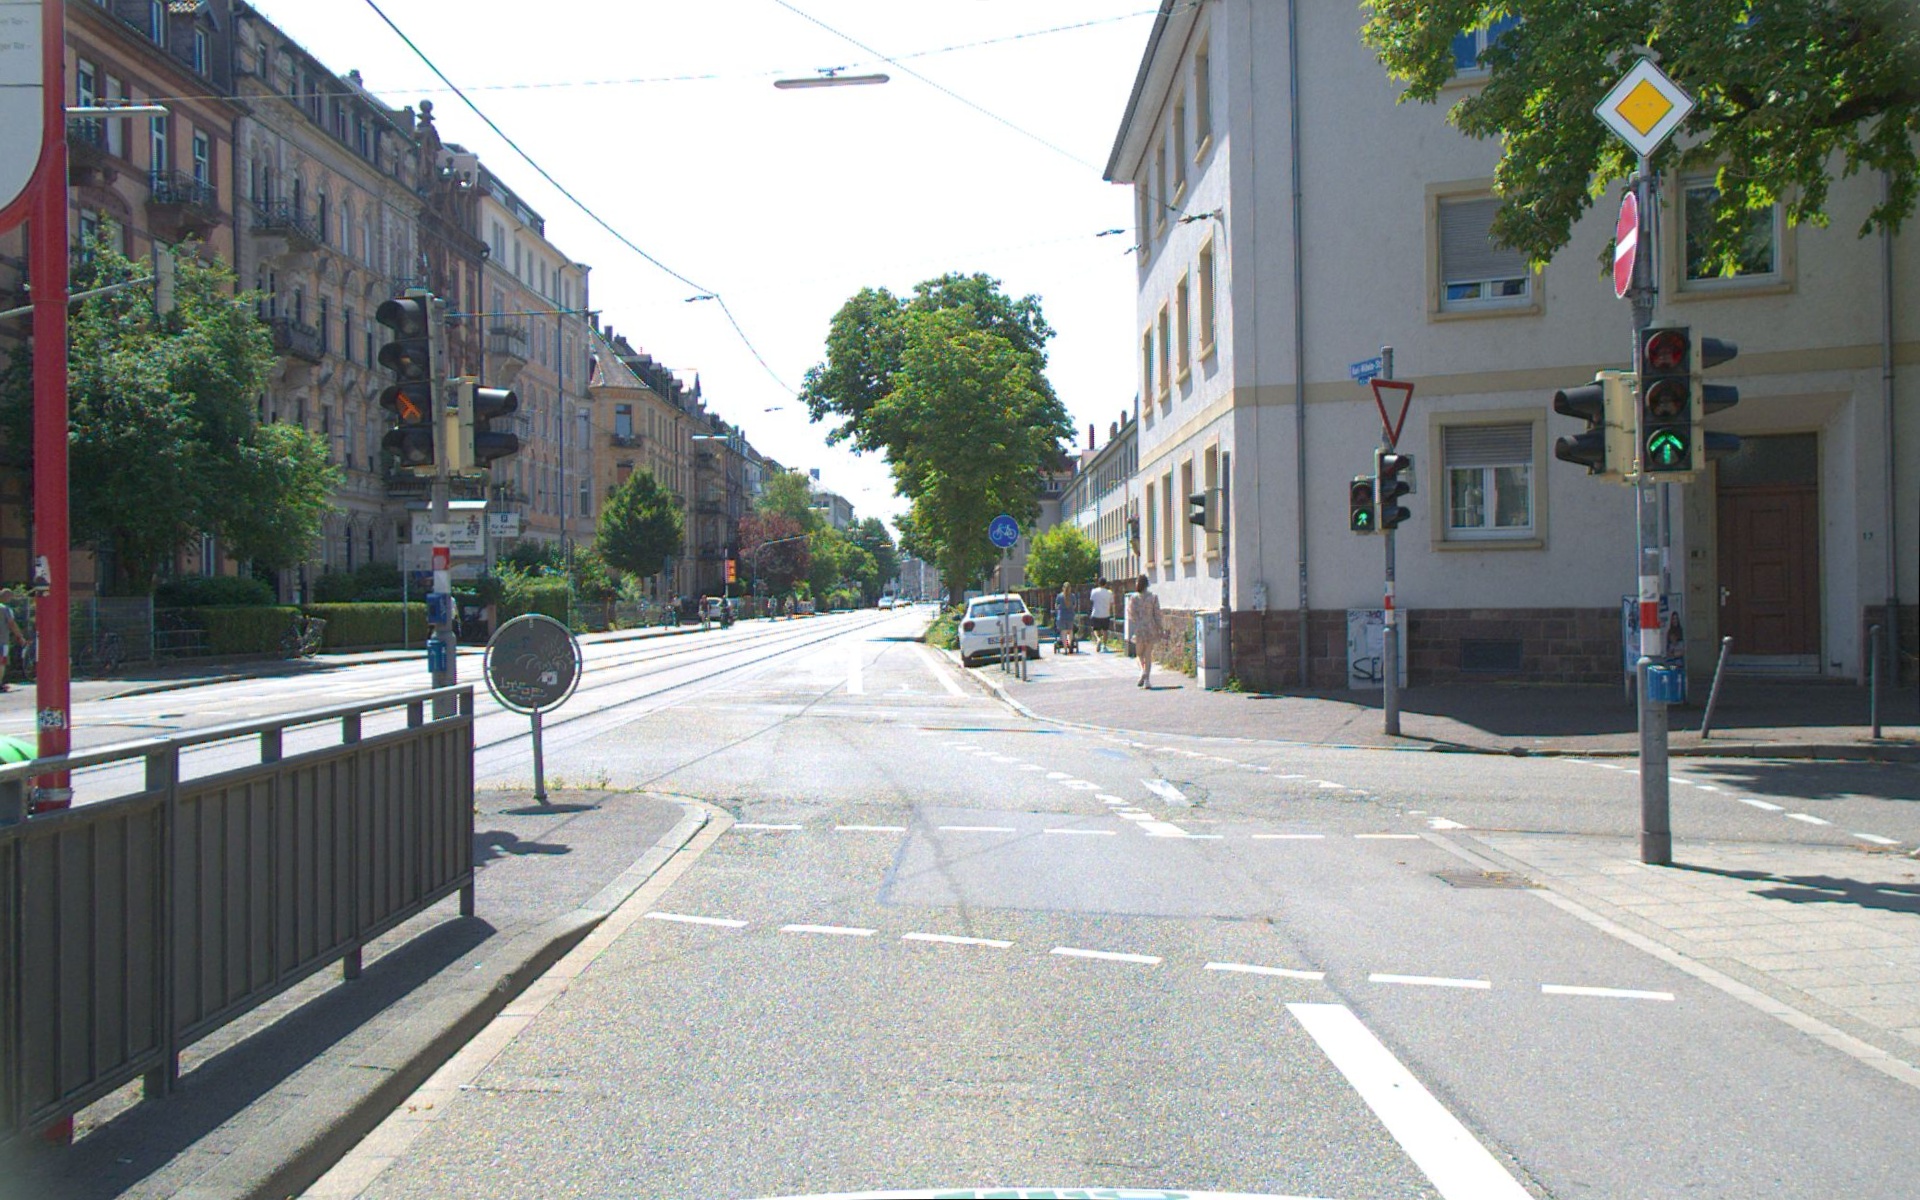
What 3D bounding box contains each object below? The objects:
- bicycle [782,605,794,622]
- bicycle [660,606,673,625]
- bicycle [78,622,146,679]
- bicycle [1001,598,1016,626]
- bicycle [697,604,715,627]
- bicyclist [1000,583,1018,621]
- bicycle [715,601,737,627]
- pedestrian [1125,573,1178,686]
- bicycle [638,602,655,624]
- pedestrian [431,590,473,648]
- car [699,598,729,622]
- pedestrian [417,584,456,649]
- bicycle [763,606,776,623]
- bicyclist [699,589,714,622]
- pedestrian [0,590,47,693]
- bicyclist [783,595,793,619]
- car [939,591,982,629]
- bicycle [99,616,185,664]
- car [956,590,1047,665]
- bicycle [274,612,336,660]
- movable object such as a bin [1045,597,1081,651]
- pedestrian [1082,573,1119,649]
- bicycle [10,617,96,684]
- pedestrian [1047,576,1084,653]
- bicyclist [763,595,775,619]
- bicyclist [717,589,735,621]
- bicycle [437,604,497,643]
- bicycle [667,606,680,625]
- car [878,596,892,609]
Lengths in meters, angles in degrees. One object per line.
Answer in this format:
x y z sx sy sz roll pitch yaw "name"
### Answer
-11.649 0.928 112.241 0.569 1.097 1.890 -2 0 0 "bicycle"
-15.457 0.805 87.080 0.430 1.000 1.710 -1 0 -2 "bicycle"
-16.801 0.990 32.793 0.449 1.074 1.565 -1 0 3 "bicycle"
1.963 0.474 66.745 0.589 1.069 1.823 -1 0 2 "bicycle"
-12.018 0.722 78.349 0.556 1.056 1.829 -1 0 0 "bicycle"
1.963 0.075 66.768 0.696 1.477 1.010 -1 0 2 "bicyclist"
-12.318 0.725 87.097 0.791 1.294 2.551 -1 0 0 "bicycle"
2.920 0.444 25.331 0.683 1.699 0.756 -1 0 -2 "pedestrian"
-15.523 0.635 81.936 0.486 1.004 1.710 3 0 -2 "bicycle"
-15.401 0.575 50.122 0.892 1.730 0.821 -1 0 33 "pedestrian"
-17.113 0.712 115.155 1.829 1.628 4.097 0 0 -5 "car"
-15.560 0.493 49.151 0.809 1.889 0.866 -1 0 -40 "pedestrian"
-12.926 0.957 112.132 0.616 1.097 1.875 -2 0 -1 "bicycle"
-12.018 0.263 78.346 0.551 1.542 0.892 -1 0 0 "bicyclist"
-16.323 0.699 28.222 0.853 1.730 1.014 -1 0 6 "pedestrian"
-11.668 0.454 112.257 0.580 1.571 0.952 -2 0 -1 "bicyclist"
-0.009 0.407 70.953 1.623 1.541 3.998 -1 0 -3 "car"
-17.606 0.858 35.609 1.612 1.013 0.495 -1 0 1 "bicycle"
0.874 0.577 37.038 1.742 1.434 4.155 -5 0 -1 "car"
-15.982 0.871 40.400 0.625 1.112 1.932 1 0 3 "bicycle"
2.429 0.561 39.119 0.683 1.206 1.036 -4 0 -1 "movable object such as a bin"
3.270 0.255 38.479 0.683 1.698 0.756 -4 0 -1 "pedestrian"
-16.778 0.918 30.638 0.561 1.189 1.716 -1 0 3 "bicycle"
2.438 0.326 38.165 0.683 1.698 0.869 -4 0 -1 "pedestrian"
-12.945 0.460 112.051 0.621 1.612 1.028 -2 0 -1 "bicyclist"
-12.332 0.284 87.063 0.791 1.658 0.980 -1 0 0 "bicyclist"
-16.465 0.776 55.257 1.833 1.249 0.568 1 0 -3 "bicycle"
-15.449 0.810 89.122 0.430 1.000 1.710 -1 0 -2 "bicycle"
-9.281 0.298 205.085 1.650 1.475 4.000 -1 0 -1 "car"
